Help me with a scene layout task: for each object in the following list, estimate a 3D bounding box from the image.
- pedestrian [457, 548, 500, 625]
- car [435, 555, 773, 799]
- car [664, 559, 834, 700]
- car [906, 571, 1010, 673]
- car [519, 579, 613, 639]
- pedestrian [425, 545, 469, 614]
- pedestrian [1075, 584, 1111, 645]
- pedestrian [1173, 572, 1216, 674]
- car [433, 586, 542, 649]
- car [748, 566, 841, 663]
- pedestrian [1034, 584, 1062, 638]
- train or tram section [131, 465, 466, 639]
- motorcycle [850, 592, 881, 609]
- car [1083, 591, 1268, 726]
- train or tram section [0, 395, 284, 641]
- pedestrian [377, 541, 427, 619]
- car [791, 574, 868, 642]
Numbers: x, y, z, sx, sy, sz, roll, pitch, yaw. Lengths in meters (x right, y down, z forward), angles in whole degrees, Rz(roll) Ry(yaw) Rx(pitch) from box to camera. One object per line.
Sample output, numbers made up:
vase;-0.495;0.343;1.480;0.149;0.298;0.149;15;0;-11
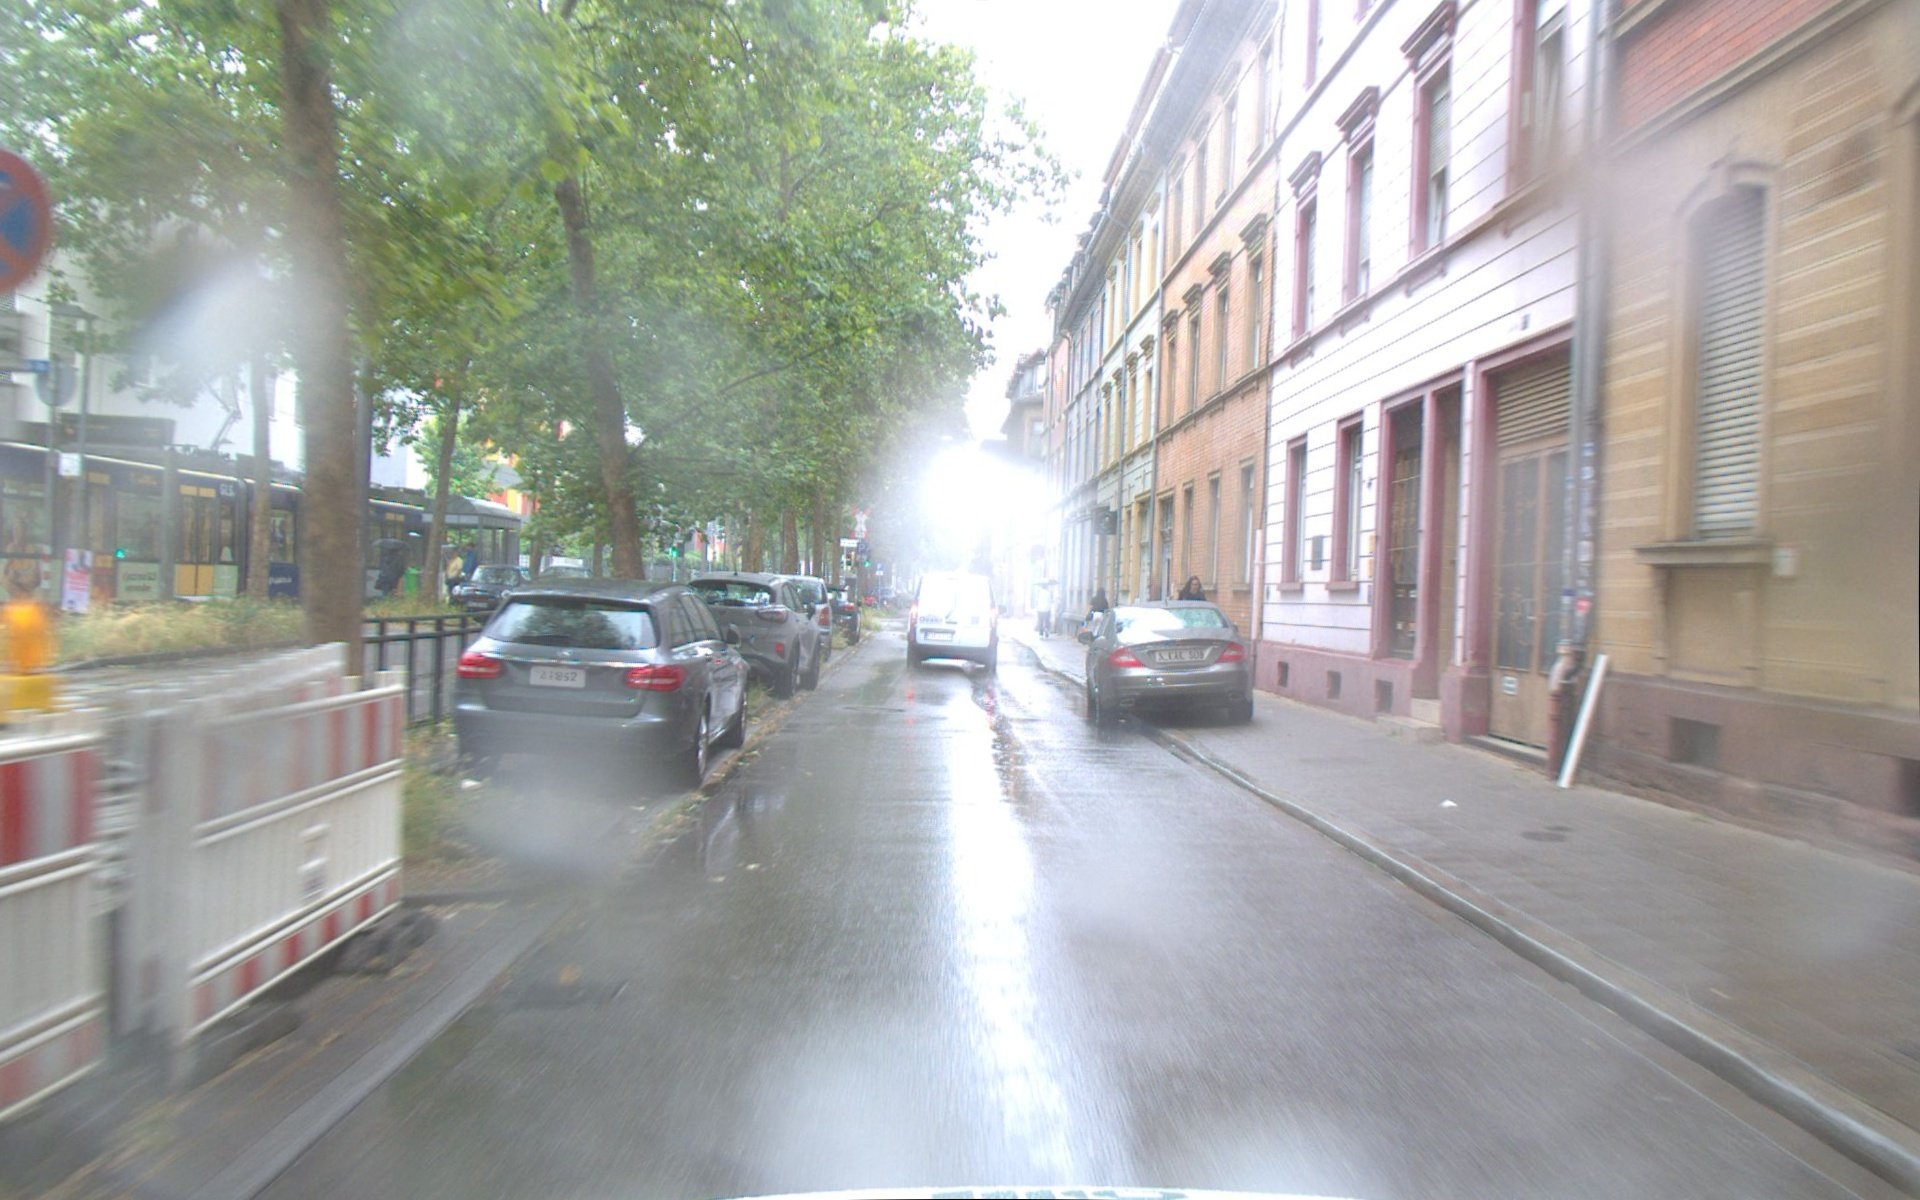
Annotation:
pedestrian;-13.147;-0.360;45.172;0.851;2.049;0.821;2;0;2
car;-2.639;0.516;13.369;1.792;1.530;4.612;3;0;-2
car;-2.738;0.351;22.369;1.664;1.664;4.355;2;0;0
car;-0.066;0.443;32.679;1.865;1.829;4.112;2;-1;-1
car;-11.845;0.248;49.979;1.953;1.641;3.999;2;0;-2
pedestrian;-13.215;-0.532;42.637;0.801;1.733;0.872;2;0;-2
pedestrian;3.451;0.370;42.982;0.823;1.538;1.107;-1;0;-1
pedestrian;4.022;0.392;28.371;0.626;1.714;0.603;-1;0;-2
car;-11.893;0.406;41.844;1.704;1.366;3.754;5;0;-2
car;-3.178;0.235;32.284;1.592;1.711;3.657;3;1;-4
pedestrian;2.885;0.347;54.529;0.823;1.746;1.107;-1;0;-1
train or tram section;-16.282;-0.882;42.587;3.043;3.621;14.668;2;-1;-2
motorcycle;-5.353;0.024;93.514;1.670;0.880;0.577;2;0;4
car;2.548;0.636;20.538;1.776;1.445;4.698;-1;0;2
train or tram section;-15.840;-1.186;28.098;3.043;3.621;14.570;2;-1;-2
pedestrian;-12.700;-0.450;37.663;0.801;1.733;0.872;2;0;-2
car;-3.222;0.192;41.572;1.616;1.526;4.118;4;0;-2
